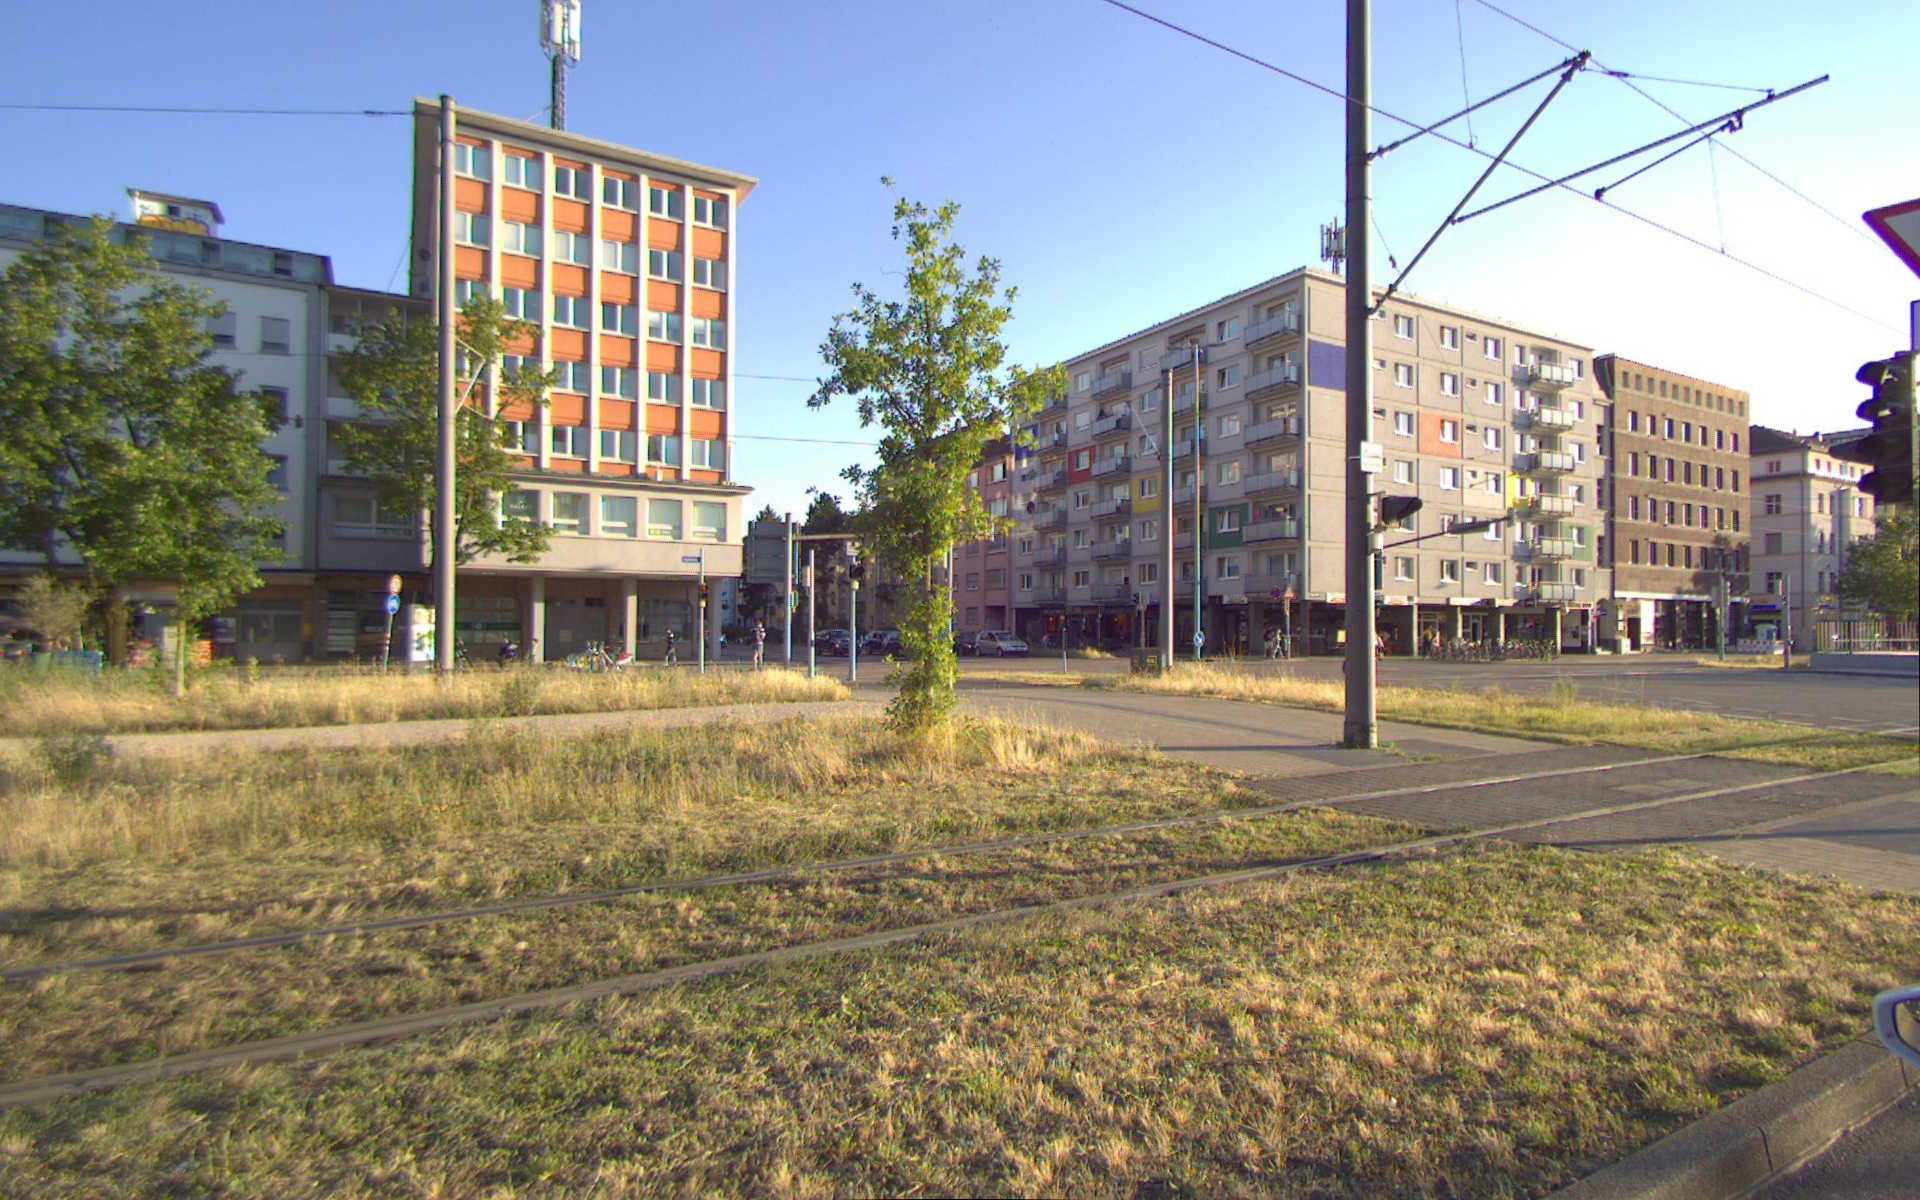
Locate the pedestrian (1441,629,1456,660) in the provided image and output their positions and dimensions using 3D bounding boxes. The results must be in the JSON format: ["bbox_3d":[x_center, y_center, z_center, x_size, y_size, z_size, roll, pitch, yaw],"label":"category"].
[{"bbox_3d":[26.972,2.435,55.463,0.539,1.706,0.578,1,-1,-23],"label":"pedestrian"}]

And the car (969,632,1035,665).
[{"bbox_3d":[2.277,2.654,55.576,1.974,1.506,3.973,2,1,-26],"label":"car"}]

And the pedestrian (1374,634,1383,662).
[{"bbox_3d":[21.633,2.468,51.921,0.376,1.401,0.394,0,-1,32],"label":"pedestrian"}]

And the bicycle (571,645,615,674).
[{"bbox_3d":[-14.087,2.273,38.576,1.543,1.089,0.392,1,-1,-31],"label":"bicycle"}]

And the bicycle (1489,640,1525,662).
[{"bbox_3d":[30.741,2.864,56.486,0.598,1.151,1.763,1,-2,-29],"label":"bicycle"}]

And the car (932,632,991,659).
[{"bbox_3d":[0.071,2.677,59.718,1.974,1.505,3.974,1,-2,-26],"label":"car"}]

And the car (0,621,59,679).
[{"bbox_3d":[-30.102,1.487,30.230,3.927,1.706,1.997,1,-1,-9],"label":"car"}]

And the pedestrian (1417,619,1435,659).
[{"bbox_3d":[26.380,2.196,56.833,0.783,2.207,0.599,1,-1,-30],"label":"pedestrian"}]

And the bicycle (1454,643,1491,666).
[{"bbox_3d":[27.617,2.939,54.124,0.592,1.154,1.749,1,-2,-29],"label":"bicycle"}]

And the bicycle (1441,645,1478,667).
[{"bbox_3d":[26.906,3.005,54.163,0.601,1.157,1.768,1,-2,-29],"label":"bicycle"}]

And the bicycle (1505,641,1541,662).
[{"bbox_3d":[31.522,2.853,56.246,0.545,1.132,1.747,1,-2,-29],"label":"bicycle"}]

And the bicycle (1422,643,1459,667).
[{"bbox_3d":[25.800,2.950,53.944,0.631,1.224,1.786,1,-2,-30],"label":"bicycle"}]

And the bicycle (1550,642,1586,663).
[{"bbox_3d":[35.175,3.015,58.157,0.688,1.159,1.684,1,-1,-28],"label":"bicycle"}]

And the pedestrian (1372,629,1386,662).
[{"bbox_3d":[21.423,2.326,51.359,0.563,1.641,0.602,0,-1,29],"label":"pedestrian"}]

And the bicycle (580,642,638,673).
[{"bbox_3d":[-12.629,2.071,36.158,1.885,1.089,0.465,1,-1,-31],"label":"bicycle"}]

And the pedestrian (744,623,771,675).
[{"bbox_3d":[-7.859,1.895,38.970,0.708,1.972,0.720,-1,-2,43],"label":"pedestrian"}]

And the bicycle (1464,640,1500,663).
[{"bbox_3d":[28.191,2.763,54.267,0.534,1.183,1.758,1,-1,-29],"label":"bicycle"}]

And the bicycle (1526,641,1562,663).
[{"bbox_3d":[33.198,2.960,57.116,0.696,1.168,1.684,1,-1,-28],"label":"bicycle"}]

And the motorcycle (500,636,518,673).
[{"bbox_3d":[-17.030,2.049,37.913,0.538,1.335,1.823,1,-1,-27],"label":"motorcycle"}]

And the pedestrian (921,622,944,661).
[{"bbox_3d":[-1.317,1.984,48.236,0.879,1.855,0.885,1,-1,-20],"label":"pedestrian"}]

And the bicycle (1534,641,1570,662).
[{"bbox_3d":[33.861,2.936,57.459,0.739,1.194,1.684,1,-1,-28],"label":"bicycle"}]

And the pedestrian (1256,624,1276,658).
[{"bbox_3d":[16.864,2.231,55.336,0.715,1.836,0.820,1,-1,-40],"label":"pedestrian"}]

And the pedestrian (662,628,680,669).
[{"bbox_3d":[-12.717,2.114,44.190,0.623,1.792,0.593,1,-1,-30],"label":"pedestrian"}]

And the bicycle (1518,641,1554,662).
[{"bbox_3d":[32.577,2.892,56.827,0.626,1.139,1.720,2,-2,-28],"label":"bicycle"}]

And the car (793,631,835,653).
[{"bbox_3d":[-11.174,3.205,76.653,1.974,1.505,3.974,3,-3,-26],"label":"car"}]

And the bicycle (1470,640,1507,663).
[{"bbox_3d":[28.702,2.769,54.557,0.561,1.197,1.761,1,-2,-29],"label":"bicycle"}]

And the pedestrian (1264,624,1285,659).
[{"bbox_3d":[17.015,2.247,54.320,0.728,1.866,0.780,1,-1,-38],"label":"pedestrian"}]

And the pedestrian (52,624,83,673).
[{"bbox_3d":[-32.652,1.761,36.759,0.690,1.774,0.646,1,-1,-30],"label":"pedestrian"}]

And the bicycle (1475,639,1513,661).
[{"bbox_3d":[29.660,2.776,55.776,0.632,1.176,1.823,1,-2,-29],"label":"bicycle"}]

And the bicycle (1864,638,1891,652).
[{"bbox_3d":[65.597,3.203,71.810,1.637,0.957,0.509,0,-1,-6],"label":"bicycle"}]

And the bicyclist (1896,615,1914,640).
[{"bbox_3d":[77.358,2.283,82.223,0.912,2.040,0.794,1,-1,-28],"label":"bicyclist"}]

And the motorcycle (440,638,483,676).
[{"bbox_3d":[-17.794,2.025,35.850,1.373,1.335,0.378,1,-1,-28],"label":"motorcycle"}]

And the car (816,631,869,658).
[{"bbox_3d":[-7.235,2.706,61.500,1.975,1.551,3.971,1,-1,-28],"label":"car"}]

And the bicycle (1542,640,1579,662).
[{"bbox_3d":[34.540,2.914,57.814,0.739,1.185,1.684,1,-1,-28],"label":"bicycle"}]

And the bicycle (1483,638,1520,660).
[{"bbox_3d":[30.232,2.748,56.128,0.598,1.174,1.768,1,-2,-29],"label":"bicycle"}]

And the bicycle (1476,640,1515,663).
[{"bbox_3d":[29.253,2.787,54.893,0.644,1.206,1.780,1,-2,-30],"label":"bicycle"}]

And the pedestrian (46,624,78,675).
[{"bbox_3d":[-32.323,1.760,36.158,0.696,1.816,0.590,1,-1,-30],"label":"pedestrian"}]

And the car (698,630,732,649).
[{"bbox_3d":[-21.269,3.379,87.094,1.975,1.551,3.971,1,-2,-28],"label":"car"}]

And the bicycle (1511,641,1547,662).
[{"bbox_3d":[32.030,2.865,56.524,0.561,1.134,1.753,1,-2,-29],"label":"bicycle"}]

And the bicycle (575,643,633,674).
[{"bbox_3d":[-13.278,2.168,37.472,1.972,1.089,0.465,1,-1,-31],"label":"bicycle"}]
